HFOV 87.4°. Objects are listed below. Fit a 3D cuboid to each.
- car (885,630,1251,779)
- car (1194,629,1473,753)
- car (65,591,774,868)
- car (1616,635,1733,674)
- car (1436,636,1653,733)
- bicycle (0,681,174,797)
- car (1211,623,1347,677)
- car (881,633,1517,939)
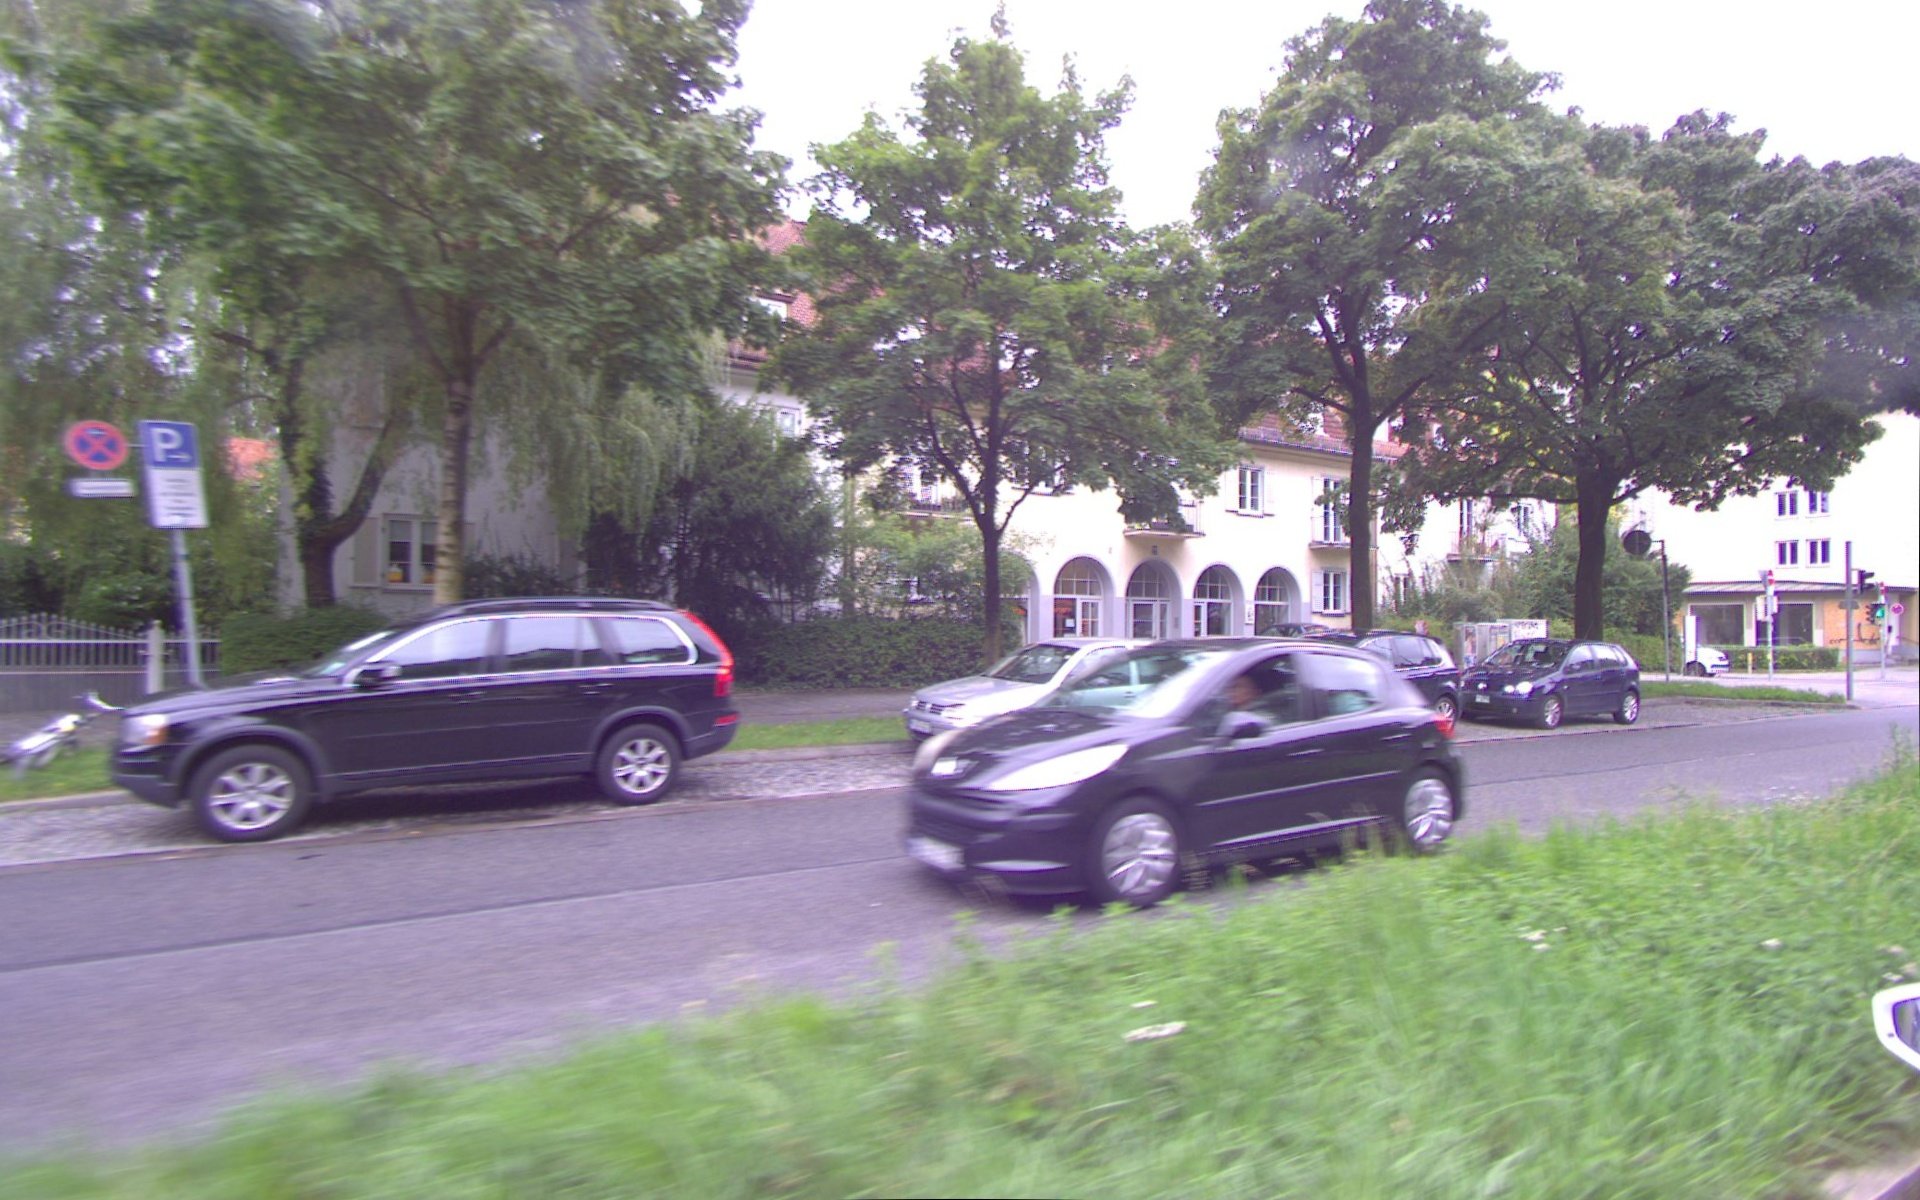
[{"bbox_3d":[1.394,1.146,12.298,4.324,1.464,1.658,1,1,-31],"label":"car"},{"bbox_3d":[5.551,1.231,14.754,4.253,1.583,1.657,1,-2,-33],"label":"car"},{"bbox_3d":[-4.319,0.886,8.780,5.006,1.787,1.784,1,1,-35],"label":"car"},{"bbox_3d":[30.805,2.308,43.396,1.656,1.583,3.839,1,-2,-36],"label":"car"},{"bbox_3d":[10.339,1.410,17.719,3.790,1.469,1.557,1,1,-29],"label":"car"},{"bbox_3d":[-8.210,1.231,9.188,1.387,0.840,1.445,1,0,-30],"label":"bicycle"},{"bbox_3d":[9.222,1.413,29.280,1.653,1.481,3.613,1,-2,-32],"label":"car"},{"bbox_3d":[1.670,0.953,6.620,4.056,1.461,1.729,1,-2,-32],"label":"car"}]
